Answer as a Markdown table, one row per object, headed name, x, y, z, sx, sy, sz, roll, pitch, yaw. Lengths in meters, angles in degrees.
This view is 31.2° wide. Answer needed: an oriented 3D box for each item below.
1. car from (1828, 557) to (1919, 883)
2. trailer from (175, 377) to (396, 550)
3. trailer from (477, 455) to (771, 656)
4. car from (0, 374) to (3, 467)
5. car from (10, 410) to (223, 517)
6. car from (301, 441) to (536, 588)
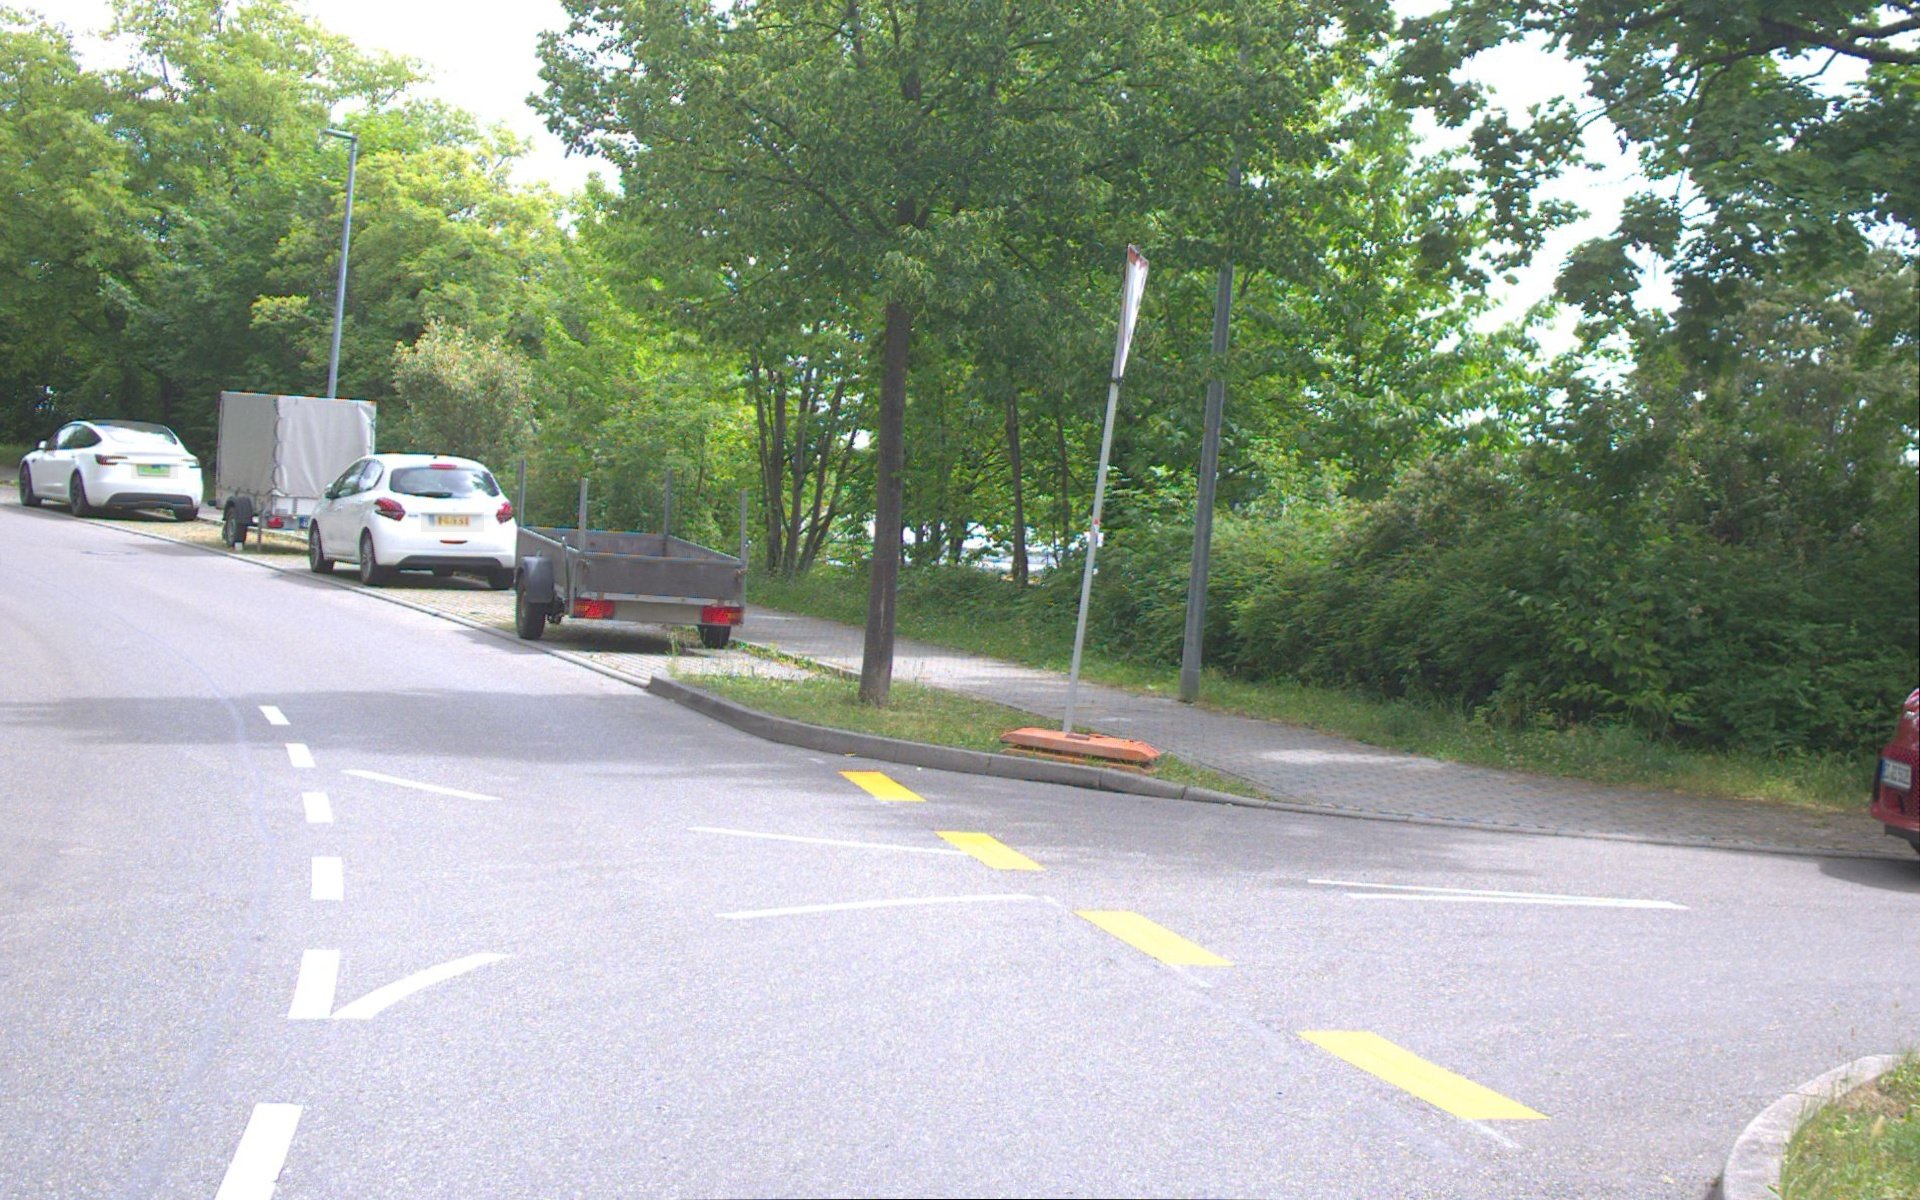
| name | x | y | z | sx | sy | sz | roll | pitch | yaw |
| --- | --- | --- | --- | --- | --- | --- | --- | --- | --- |
| car | 6.284 | 0.712 | 16.805 | 3.536 | 1.476 | 1.782 | 5 | 2 | 2 |
| trailer | -9.023 | -1.850 | 45.746 | 1.740 | 2.103 | 4.001 | 1 | 3 | -28 |
| trailer | -3.107 | -0.451 | 31.096 | 1.783 | 1.520 | 4.002 | 3 | 3 | -18 |
| car | -19.262 | -3.377 | 63.119 | 1.886 | 1.681 | 4.352 | -1 | 5 | -35 |
| car | -13.021 | -2.120 | 52.907 | 1.886 | 1.371 | 4.352 | 2 | 3 | -32 |
| car | -6.329 | -1.020 | 39.832 | 1.768 | 1.406 | 4.002 | 2 | 4 | -22 |
